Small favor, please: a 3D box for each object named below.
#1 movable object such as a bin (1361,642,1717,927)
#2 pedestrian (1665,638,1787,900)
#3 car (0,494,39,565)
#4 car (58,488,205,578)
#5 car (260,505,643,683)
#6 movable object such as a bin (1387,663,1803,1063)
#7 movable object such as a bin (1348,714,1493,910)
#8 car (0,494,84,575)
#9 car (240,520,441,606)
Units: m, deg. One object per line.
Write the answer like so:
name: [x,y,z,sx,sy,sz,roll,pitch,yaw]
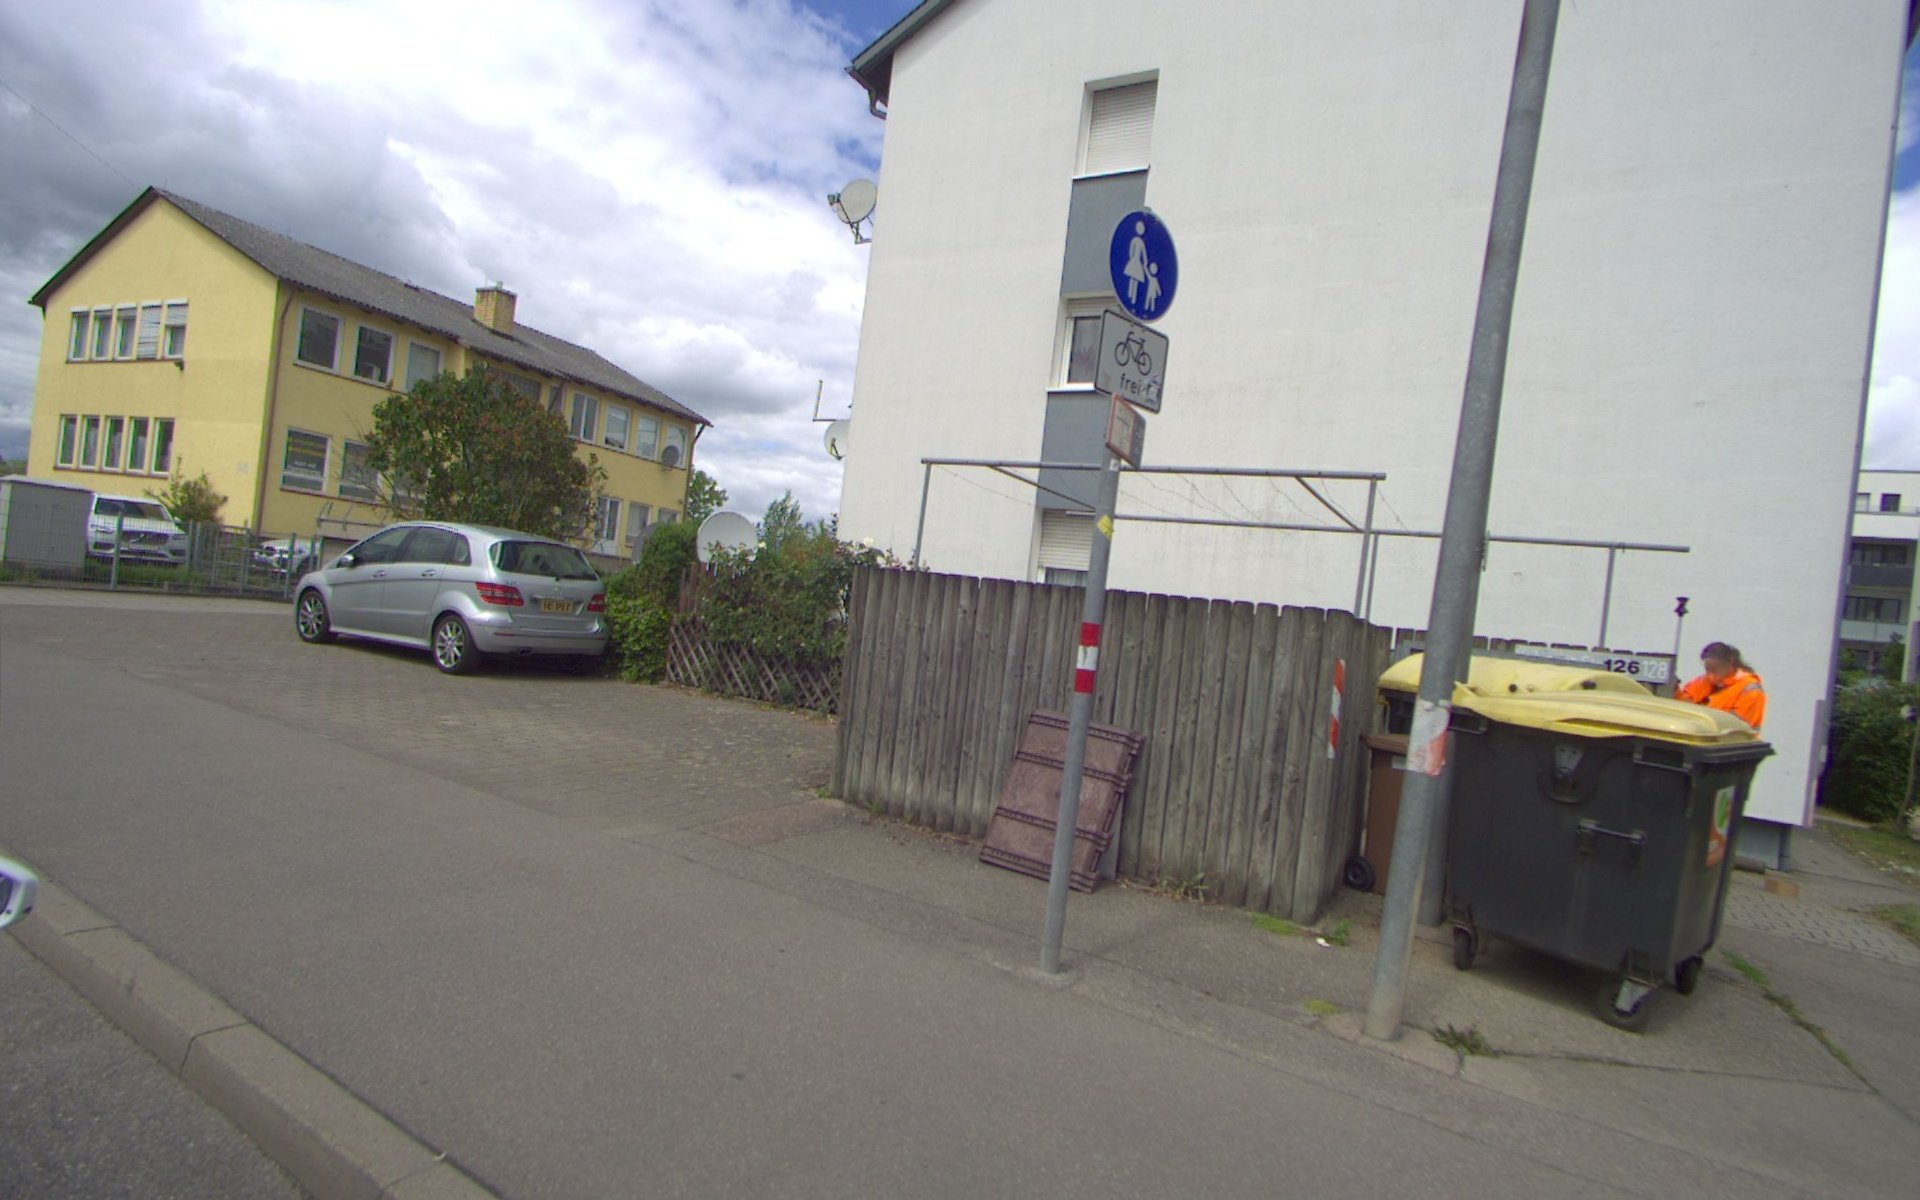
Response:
movable object such as a bin: [3.480,1.072,6.147,1.305,1.453,1.245,6,-1,-22]
pedestrian: [5.578,1.210,7.324,0.505,1.785,0.495,9,-2,-42]
car: [-23.305,-1.873,21.670,2.001,1.511,4.668,7,-2,31]
car: [-20.770,-1.692,25.136,4.961,1.843,1.973,5,-1,42]
car: [-6.139,-0.101,12.023,4.445,1.564,1.878,7,0,30]
movable object such as a bin: [2.937,1.072,4.656,1.314,1.377,1.237,7,-1,-43]
movable object such as a bin: [2.691,1.232,5.890,0.561,1.038,0.404,8,-2,-22]
car: [-20.951,-1.607,20.120,2.011,1.510,4.706,7,-2,31]
car: [-16.600,-0.943,27.173,1.827,1.599,4.137,7,-2,30]
